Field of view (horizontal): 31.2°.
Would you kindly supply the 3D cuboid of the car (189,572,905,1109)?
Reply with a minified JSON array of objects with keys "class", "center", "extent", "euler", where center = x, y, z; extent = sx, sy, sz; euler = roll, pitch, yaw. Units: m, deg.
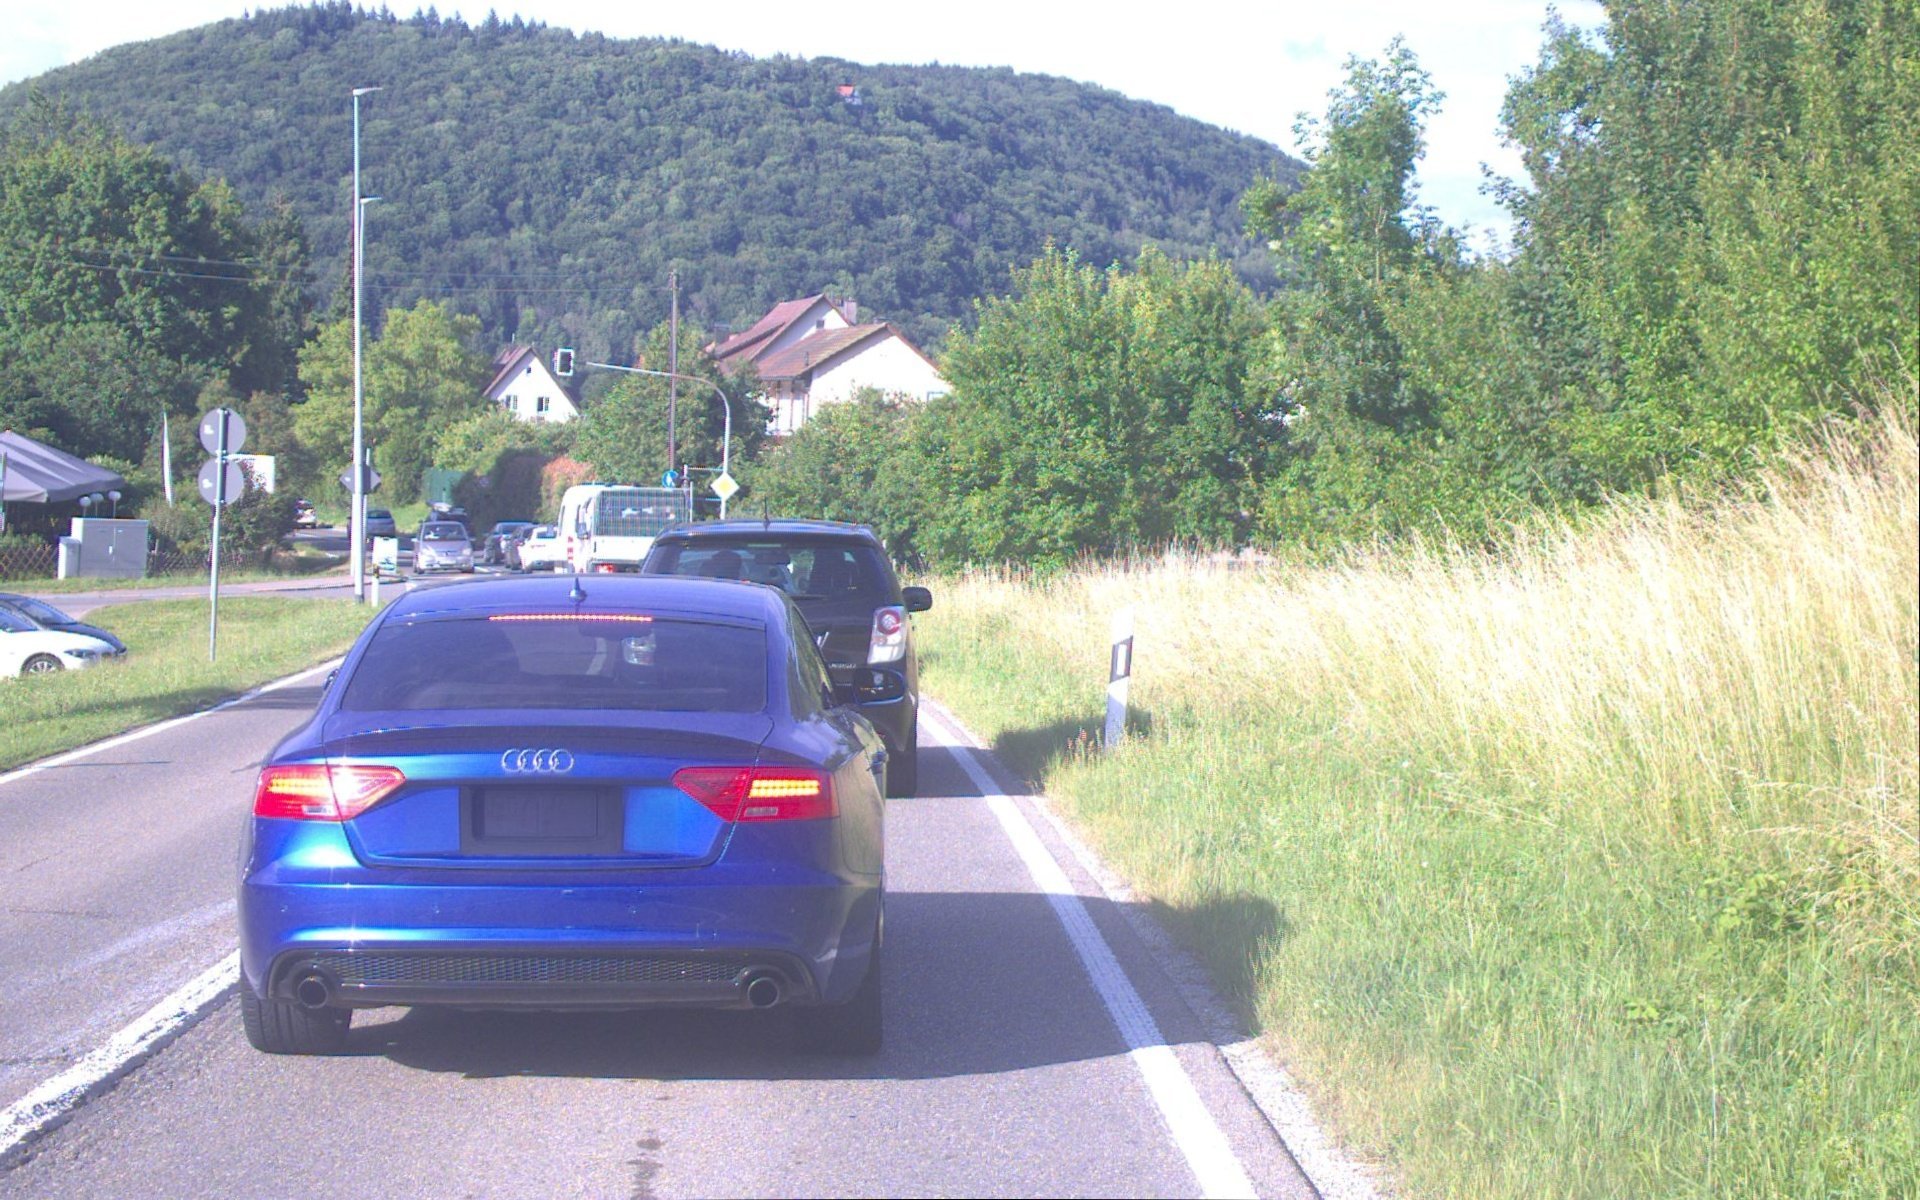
[{"class":"car","center":[-1.099,0.604,10.881],"extent":[1.795,1.383,4.000],"euler":[0,1,0]}]

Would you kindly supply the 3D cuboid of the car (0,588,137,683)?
[{"class":"car","center":[-16.179,0.546,56.419],"extent":[4.815,1.488,1.880],"euler":[1,0,8]}]

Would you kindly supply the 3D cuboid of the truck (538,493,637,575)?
[{"class":"truck","center":[-9.363,-1.631,86.092],"extent":[1.697,1.947,5.924],"euler":[1,1,-14]}]

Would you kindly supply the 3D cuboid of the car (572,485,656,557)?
[{"class":"car","center":[-8.195,-1.837,81.176],"extent":[1.745,1.634,4.001],"euler":[1,0,-9]}]

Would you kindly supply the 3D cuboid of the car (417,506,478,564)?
[{"class":"car","center":[-15.184,-1.904,101.852],"extent":[1.734,1.656,3.472],"euler":[1,0,-9]}]

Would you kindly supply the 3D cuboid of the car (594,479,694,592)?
[{"class":"car","center":[-6.413,-1.286,69.481],"extent":[1.745,2.188,4.001],"euler":[1,0,-9]}]

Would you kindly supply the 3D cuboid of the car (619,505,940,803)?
[{"class":"car","center":[-1.019,0.281,21.145],"extent":[1.746,1.634,4.000],"euler":[1,0,0]}]

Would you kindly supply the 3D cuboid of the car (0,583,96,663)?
[{"class":"car","center":[-17.024,0.361,58.830],"extent":[3.987,1.305,1.760],"euler":[1,0,4]}]
